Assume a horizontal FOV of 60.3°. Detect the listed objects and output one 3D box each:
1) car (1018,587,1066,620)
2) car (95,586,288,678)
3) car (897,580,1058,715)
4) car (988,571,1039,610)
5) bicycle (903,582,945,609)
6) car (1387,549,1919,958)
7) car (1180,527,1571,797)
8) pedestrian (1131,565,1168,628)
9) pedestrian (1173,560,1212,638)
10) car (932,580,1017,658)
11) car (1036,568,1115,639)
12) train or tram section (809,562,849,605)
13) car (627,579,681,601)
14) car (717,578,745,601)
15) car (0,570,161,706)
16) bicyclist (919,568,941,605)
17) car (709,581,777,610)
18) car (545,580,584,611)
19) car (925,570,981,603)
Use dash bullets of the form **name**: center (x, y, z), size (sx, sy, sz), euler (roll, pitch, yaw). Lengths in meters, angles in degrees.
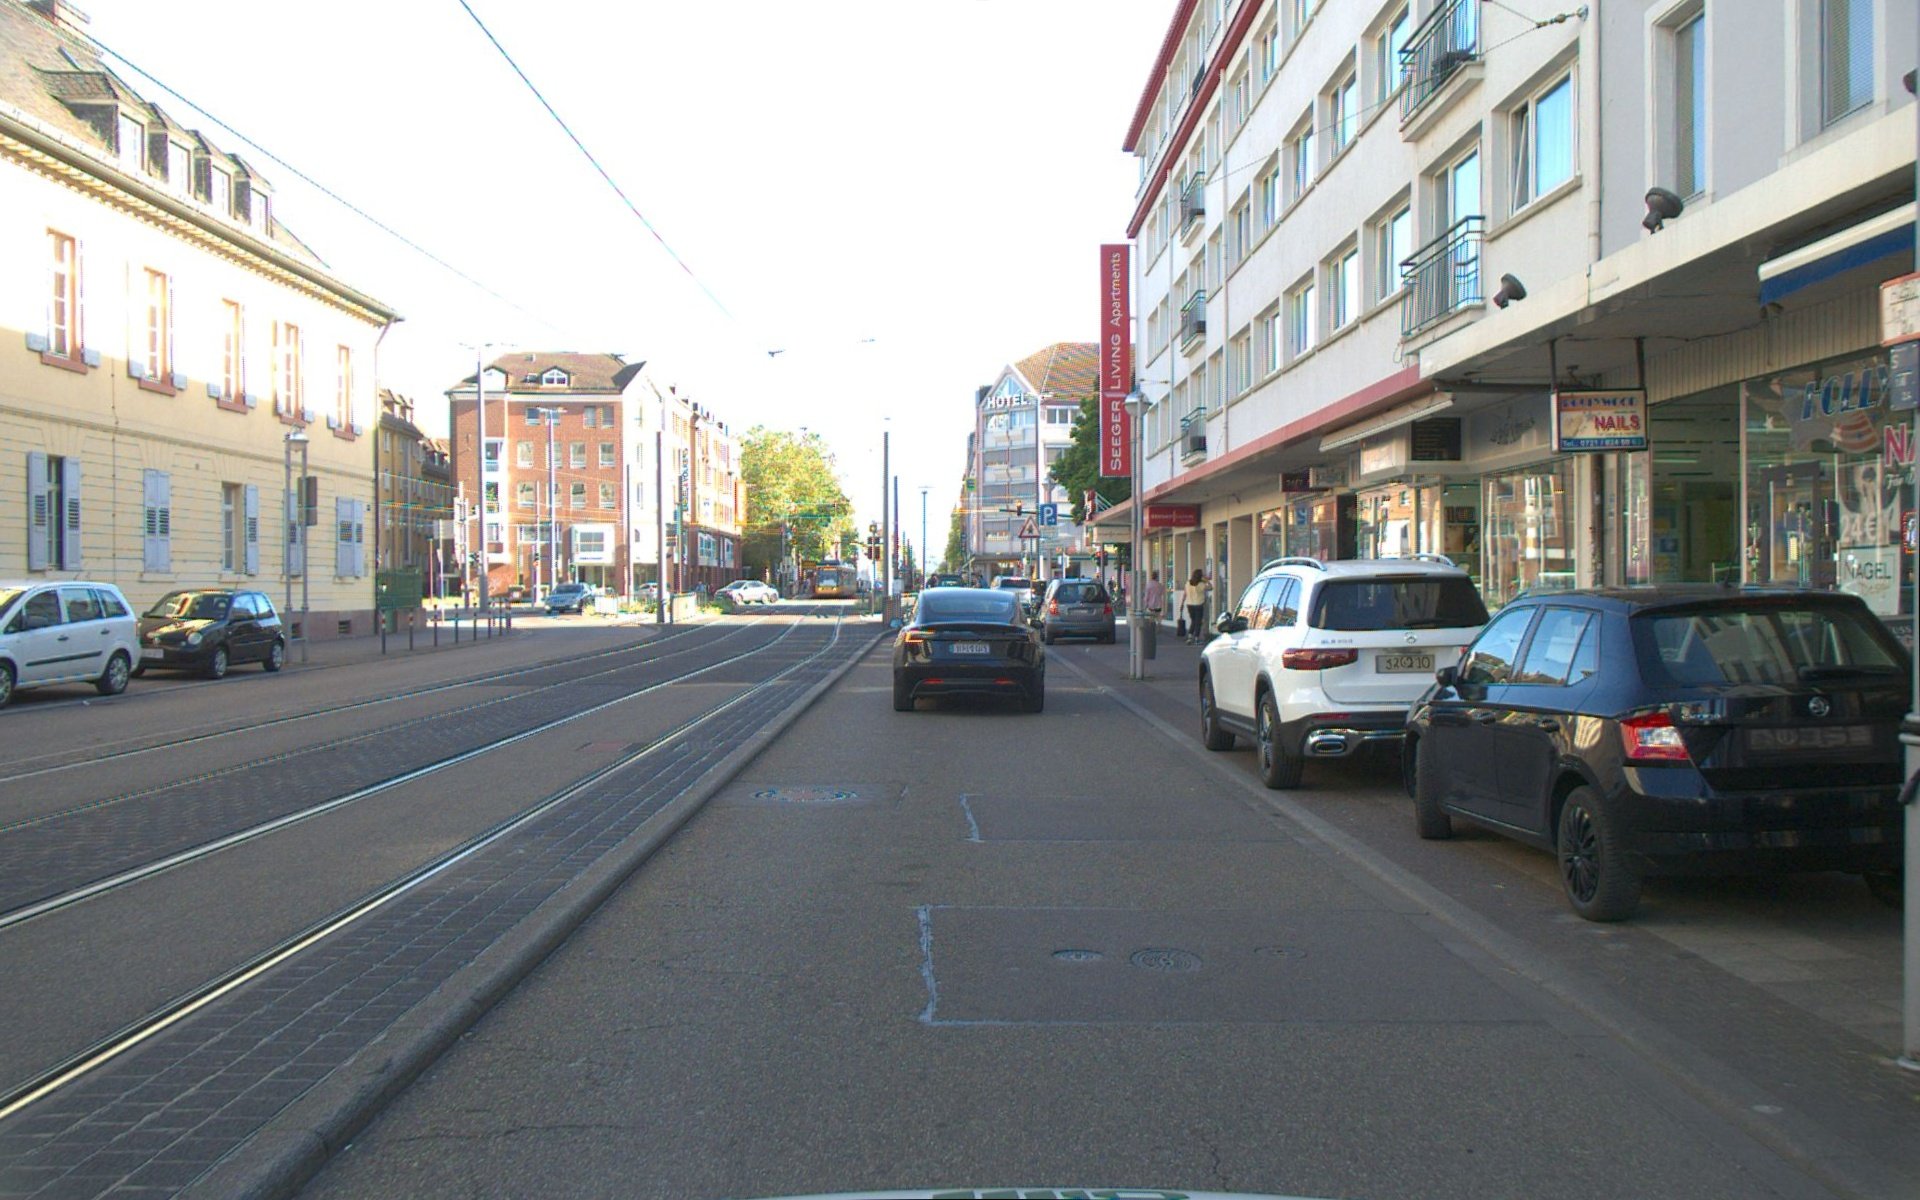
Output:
- **car**: center (3.987, 0.143, 81.183), size (1.789, 1.545, 3.645), euler (2, 0, -6)
- **car**: center (-13.027, 0.502, 28.269), size (1.581, 1.425, 3.719), euler (2, 0, -1)
- **car**: center (0.148, 0.528, 20.695), size (1.811, 1.510, 3.786), euler (1, 0, -2)
- **car**: center (2.215, -0.404, 69.691), size (1.748, 1.545, 4.215), euler (2, 0, -4)
- **bicycle**: center (-1.531, -0.189, 70.069), size (1.696, 1.107, 0.677), euler (2, 0, -9)
- **car**: center (3.543, 0.571, 8.436), size (1.581, 1.555, 4.069), euler (-1, 0, -1)
- **car**: center (3.150, 0.398, 13.754), size (1.812, 1.754, 5.192), euler (-2, 0, -1)
- **pedestrian**: center (5.245, -0.108, 45.815), size (0.800, 1.712, 0.714), euler (2, 0, 23)
- **pedestrian**: center (5.453, -0.027, 38.754), size (0.786, 1.805, 0.933), euler (-1, 0, 13)
- **car**: center (0.283, 0.343, 34.060), size (1.619, 1.443, 4.000), euler (1, 1, 0)
- **car**: center (2.868, 0.059, 41.708), size (1.709, 1.660, 3.649), euler (-2, 1, 0)
- **train or tram section**: center (-12.422, -1.543, 157.842), size (2.619, 3.780, 14.192), euler (1, 0, 0)
- **car**: center (-23.009, -0.775, 124.436), size (3.928, 1.495, 1.989), euler (2, 0, 41)
- **car**: center (-20.987, -0.949, 151.832), size (1.953, 2.049, 4.000), euler (2, 0, -1)
- **car**: center (-13.028, 0.460, 22.629), size (1.770, 1.715, 4.650), euler (2, 0, 2)
- **bicyclist**: center (-1.285, -0.561, 70.115), size (0.820, 1.526, 0.559), euler (2, 0, -8)
- **car**: center (-13.952, -0.292, 106.426), size (3.959, 1.769, 1.973), euler (-1, 1, -38)
- **car**: center (-20.433, -0.241, 85.544), size (1.848, 1.521, 4.914), euler (-1, 1, -13)
- **car**: center (-0.382, -0.665, 80.348), size (1.793, 1.545, 4.204), euler (2, 0, -13)
